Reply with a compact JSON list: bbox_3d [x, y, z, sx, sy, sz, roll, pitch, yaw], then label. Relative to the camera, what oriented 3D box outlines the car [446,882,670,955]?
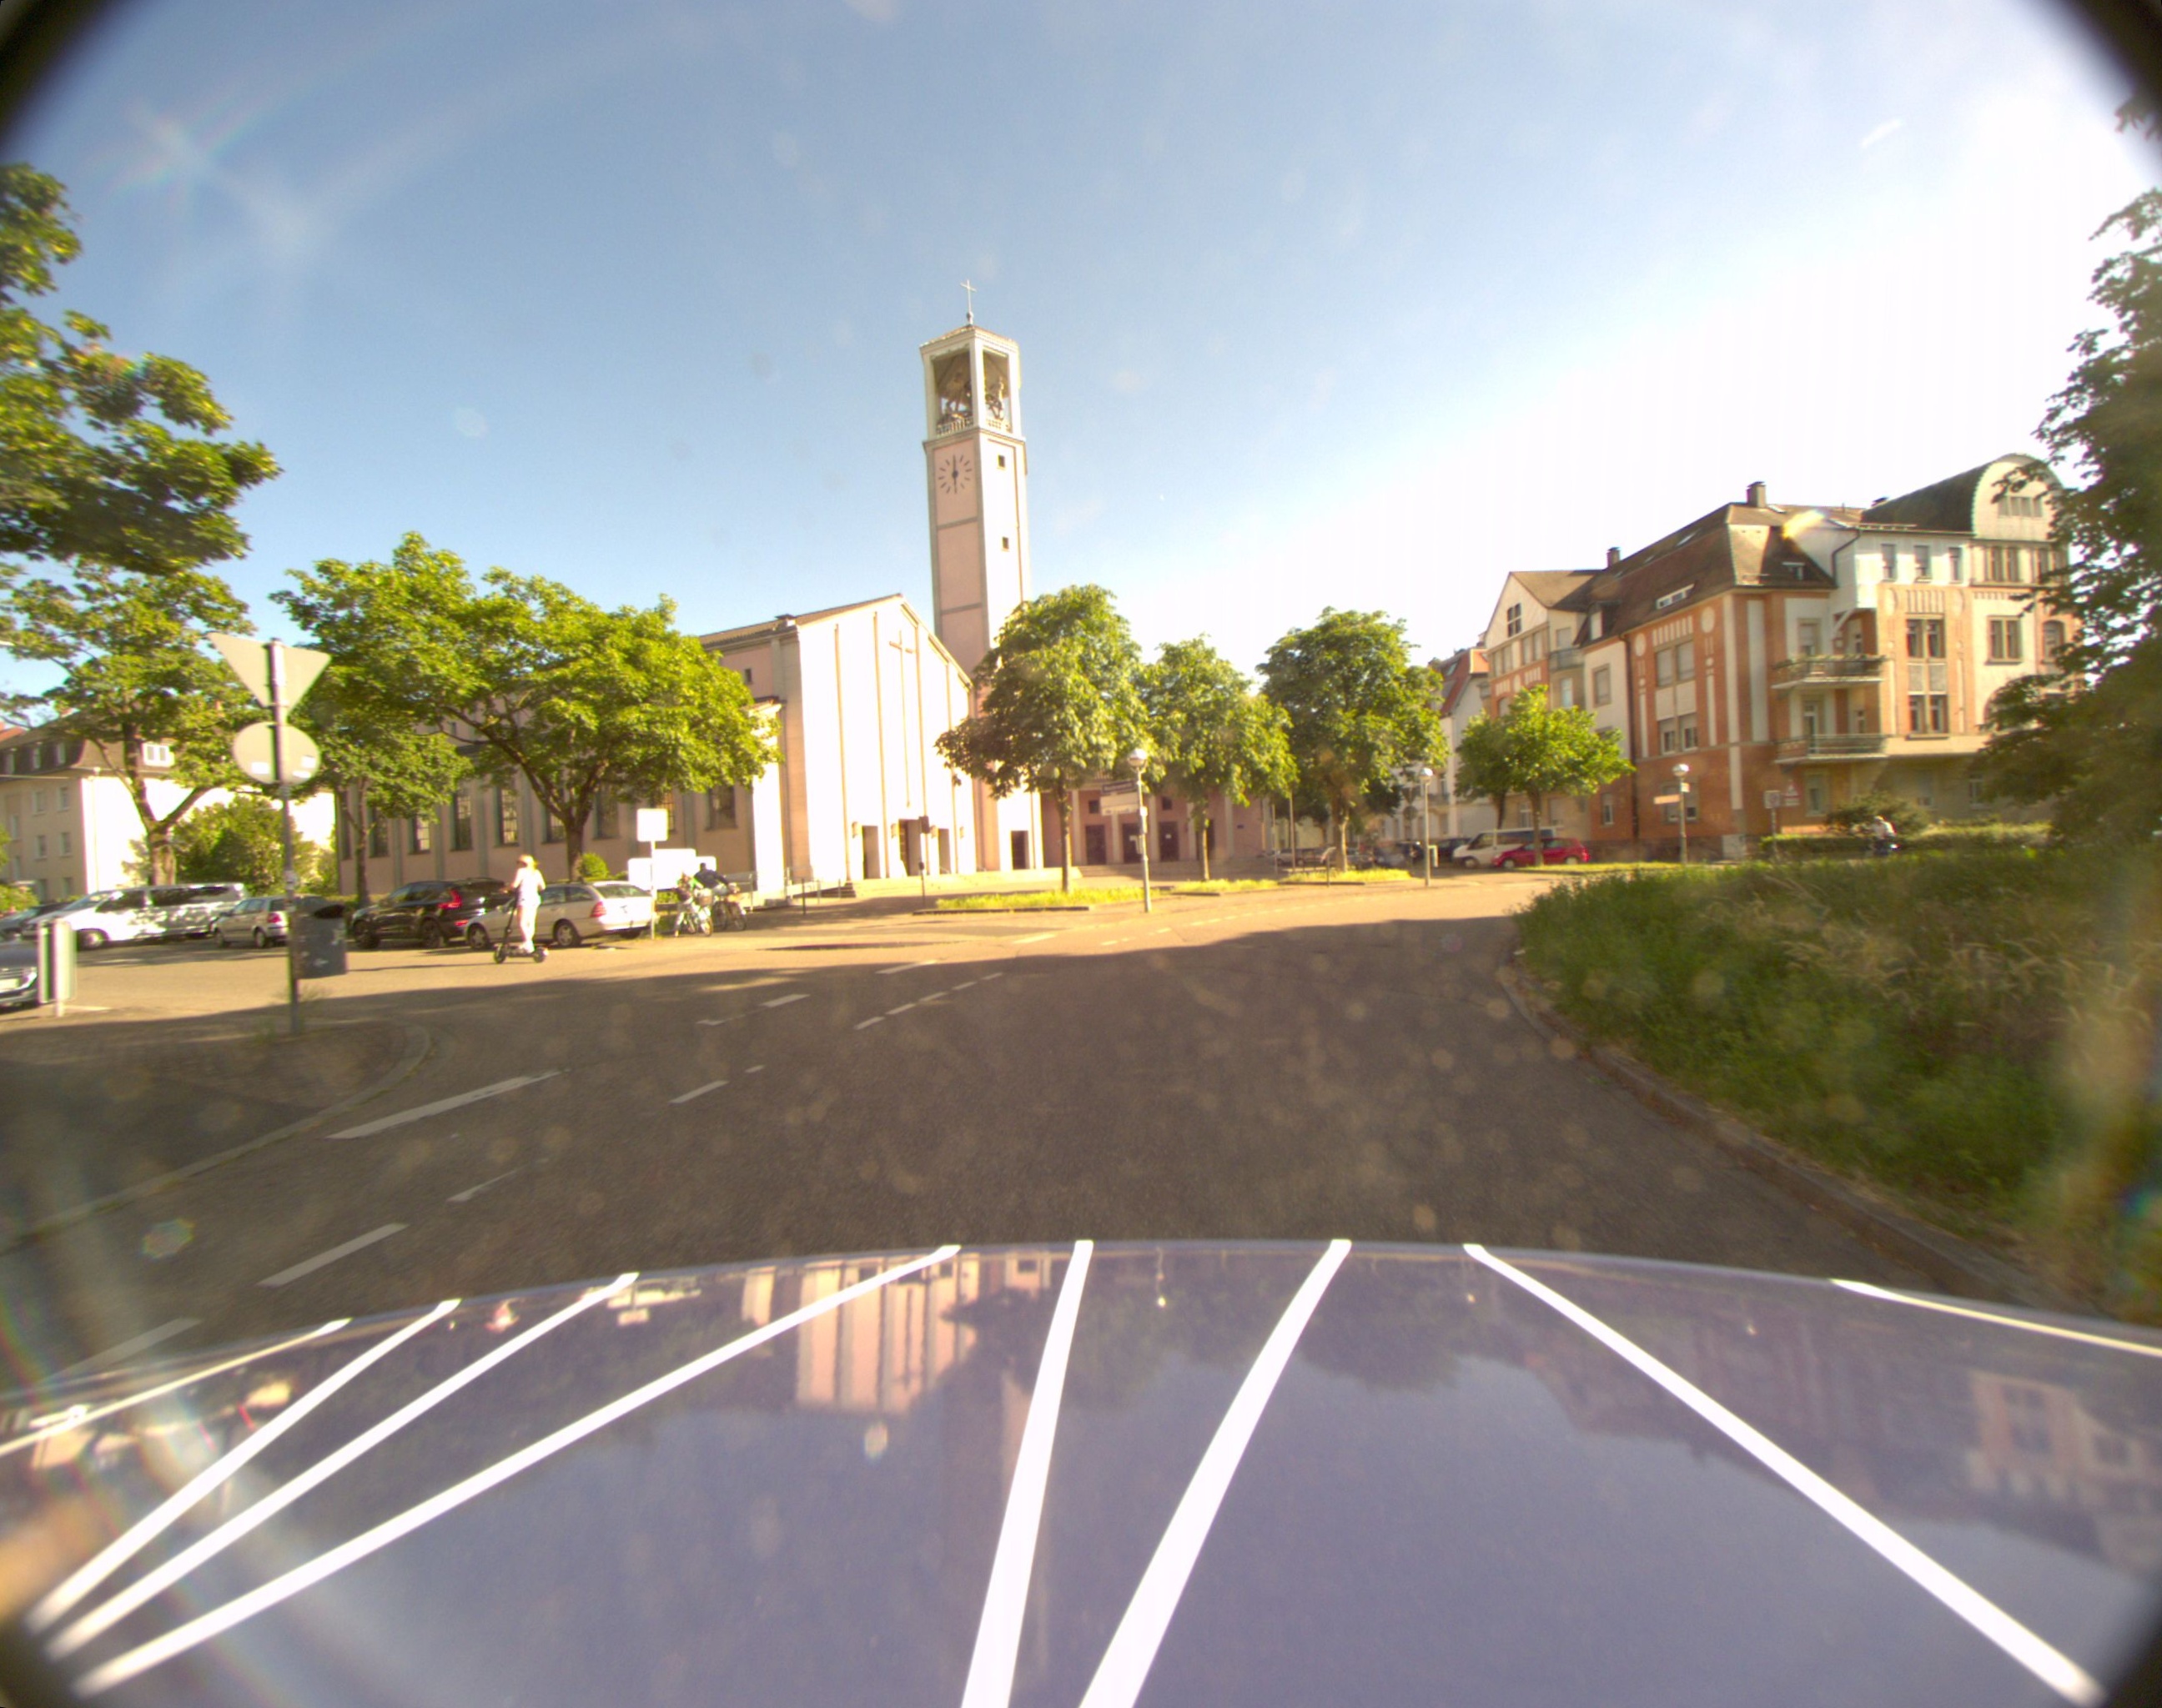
[{"bbox_3d":[-11.721,1.432,17.071,4.330,1.407,1.812,-3,-1,17],"label":"car"}]

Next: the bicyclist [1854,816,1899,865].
[{"bbox_3d":[28.536,-0.475,27.273,0.811,1.686,0.766,-3,1,14],"label":"bicyclist"}]

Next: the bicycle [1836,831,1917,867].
[{"bbox_3d":[28.529,-0.189,27.282,1.866,1.191,0.766,-3,1,13],"label":"bicycle"}]

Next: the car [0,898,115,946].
[{"bbox_3d":[-42.837,2.765,30.416,1.806,1.734,4.786,-3,-1,18],"label":"car"}]

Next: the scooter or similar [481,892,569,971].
[{"bbox_3d":[-9.576,1.325,13.097,1.104,1.275,0.633,-2,0,17],"label":"scooter or similar"}]

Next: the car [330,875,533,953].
[{"bbox_3d":[-16.306,1.502,19.109,4.330,1.718,1.812,-3,-1,17],"label":"car"}]

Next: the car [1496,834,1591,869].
[{"bbox_3d":[21.525,-0.107,35.502,3.686,1.427,1.672,-2,0,30],"label":"car"}]

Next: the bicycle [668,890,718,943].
[{"bbox_3d":[-8.907,1.402,17.425,0.597,1.101,1.858,-3,1,-39],"label":"bicycle"}]

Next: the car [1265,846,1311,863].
[{"bbox_3d":[20.067,0.069,73.724,3.945,1.487,1.765,-2,0,35],"label":"car"}]

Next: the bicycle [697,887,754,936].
[{"bbox_3d":[-8.708,1.388,18.585,1.712,1.101,0.647,-2,1,44],"label":"bicycle"}]

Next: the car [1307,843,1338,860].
[{"bbox_3d":[23.833,-0.228,75.021,1.760,1.608,3.955,-2,0,0],"label":"car"}]

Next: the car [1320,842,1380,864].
[{"bbox_3d":[20.564,-0.043,58.153,3.945,1.487,1.765,-2,0,35],"label":"car"}]

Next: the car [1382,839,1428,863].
[{"bbox_3d":[24.163,-0.238,56.798,1.760,1.648,3.955,-2,0,0],"label":"car"}]

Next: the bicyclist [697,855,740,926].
[{"bbox_3d":[-8.975,0.895,18.810,0.721,1.705,0.647,-2,2,44],"label":"bicyclist"}]

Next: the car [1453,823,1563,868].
[{"bbox_3d":[21.599,-0.411,38.510,4.693,2.033,1.998,-2,0,33],"label":"car"}]

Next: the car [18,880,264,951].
[{"bbox_3d":[-31.082,1.954,25.387,1.806,1.989,4.786,-3,-1,18],"label":"car"}]

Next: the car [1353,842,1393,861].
[{"bbox_3d":[23.990,-0.208,62.641,1.760,1.447,3.955,-2,0,0],"label":"car"}]

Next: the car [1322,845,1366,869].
[{"bbox_3d":[17.345,0.183,50.316,1.613,1.414,3.613,-3,0,0],"label":"car"}]

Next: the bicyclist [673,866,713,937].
[{"bbox_3d":[-8.898,1.066,17.410,0.597,1.572,0.802,-3,1,-39],"label":"bicyclist"}]

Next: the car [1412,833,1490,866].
[{"bbox_3d":[21.630,-0.240,44.486,3.945,1.728,1.764,-2,0,30],"label":"car"}]

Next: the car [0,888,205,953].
[{"bbox_3d":[-33.886,2.213,25.969,1.806,1.830,4.787,-3,-1,21],"label":"car"}]

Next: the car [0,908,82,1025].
[{"bbox_3d":[-16.560,1.638,10.514,4.330,1.475,1.811,-3,3,17],"label":"car"}]

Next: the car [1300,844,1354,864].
[{"bbox_3d":[20.755,-0.019,64.249,3.945,1.487,1.765,-2,0,35],"label":"car"}]

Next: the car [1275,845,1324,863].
[{"bbox_3d":[20.201,0.029,70.430,3.945,1.487,1.765,-2,0,35],"label":"car"}]

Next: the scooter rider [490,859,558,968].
[{"bbox_3d":[-9.590,1.005,13.099,0.630,1.821,0.626,-2,0,17],"label":"scooter rider"}]

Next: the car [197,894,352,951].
[{"bbox_3d":[-23.785,2.000,22.399,4.328,1.465,1.813,-3,-1,25],"label":"car"}]

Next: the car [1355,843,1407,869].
[{"bbox_3d":[17.998,0.126,45.705,1.613,1.414,3.613,-3,0,0],"label":"car"}]
